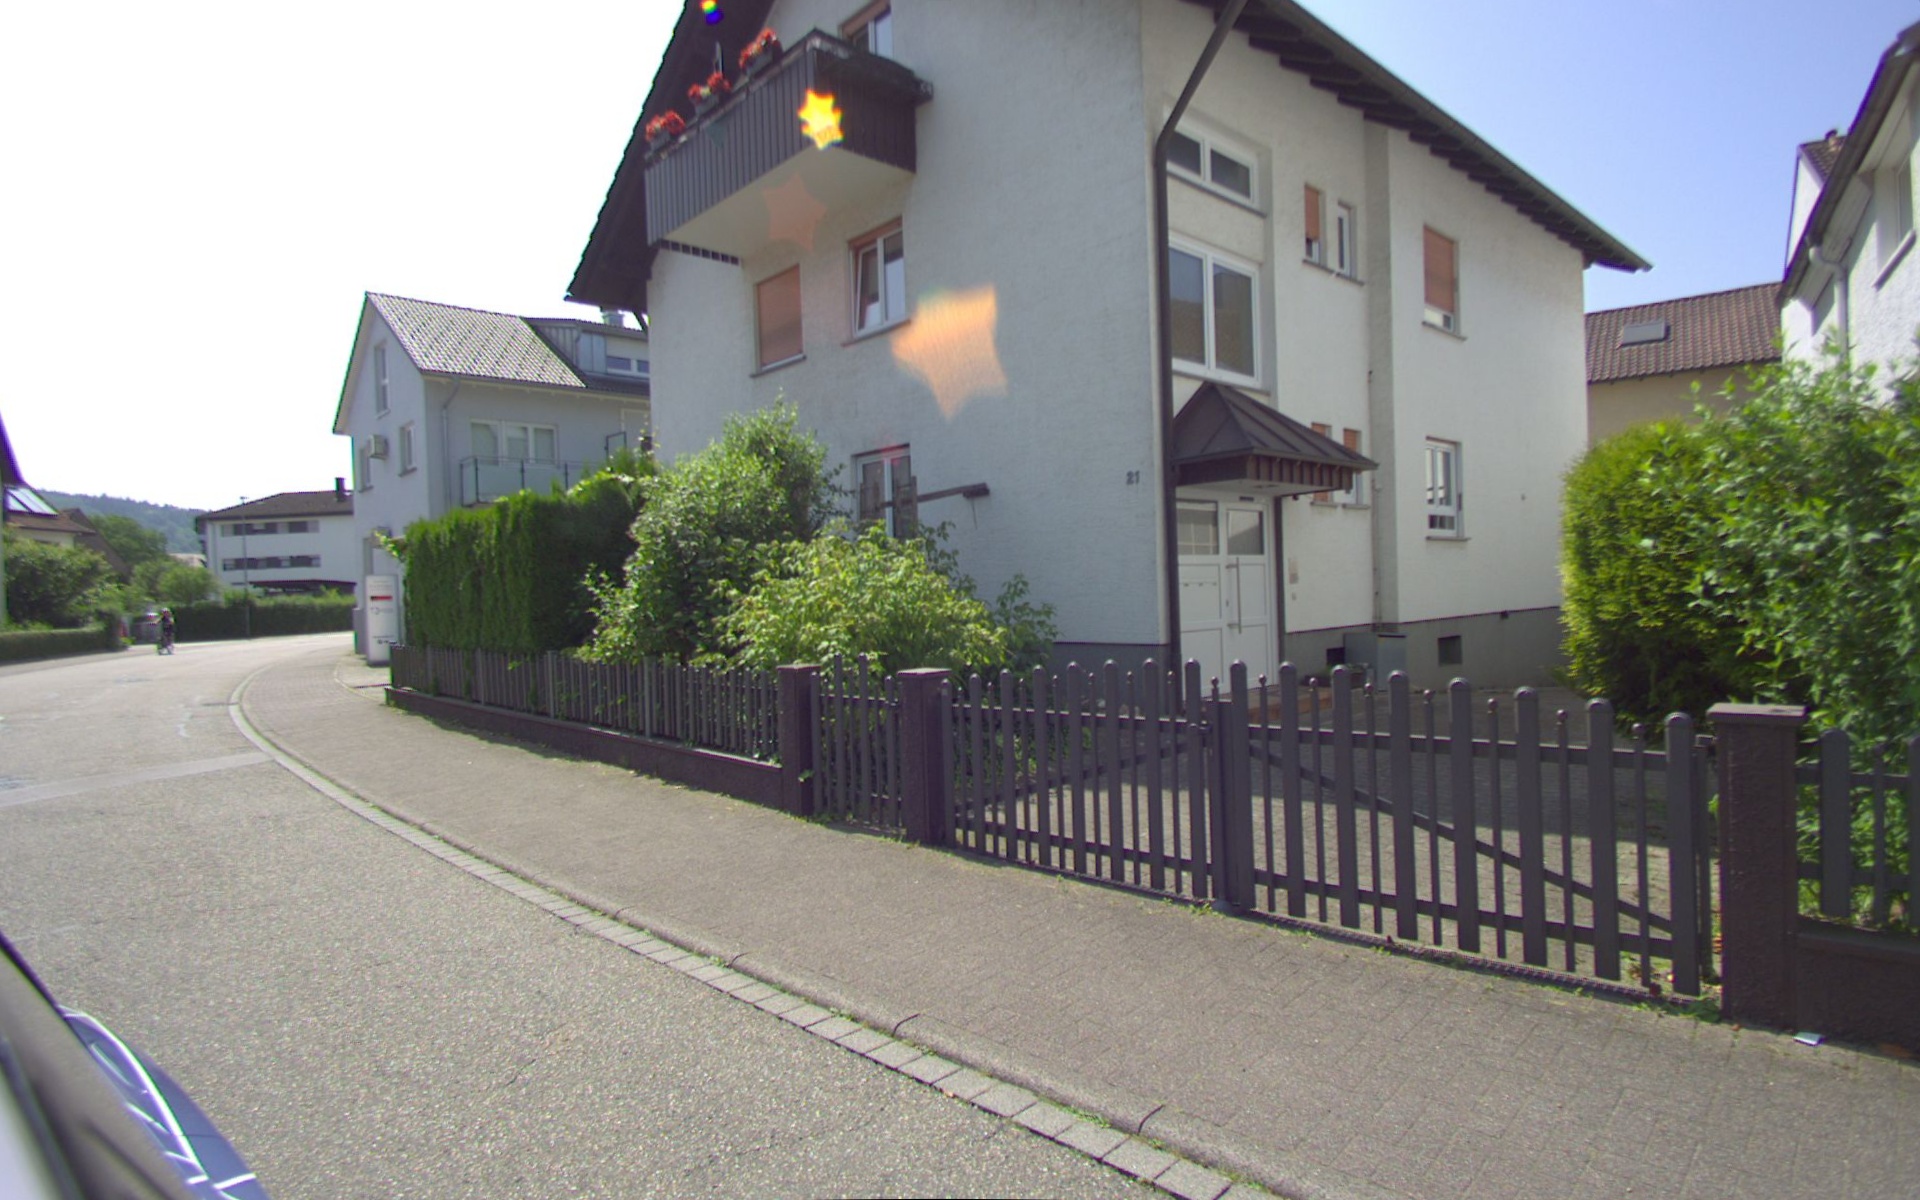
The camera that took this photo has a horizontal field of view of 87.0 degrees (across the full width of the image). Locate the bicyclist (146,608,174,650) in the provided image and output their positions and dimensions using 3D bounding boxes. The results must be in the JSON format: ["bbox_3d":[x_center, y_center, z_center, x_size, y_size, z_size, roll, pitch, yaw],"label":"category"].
[{"bbox_3d":[-29.640,1.057,37.496,0.538,1.501,0.799,-2,0,-20],"label":"bicyclist"}]

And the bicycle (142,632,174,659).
[{"bbox_3d":[-29.557,1.657,37.305,0.513,0.911,1.317,-2,0,-20],"label":"bicycle"}]
